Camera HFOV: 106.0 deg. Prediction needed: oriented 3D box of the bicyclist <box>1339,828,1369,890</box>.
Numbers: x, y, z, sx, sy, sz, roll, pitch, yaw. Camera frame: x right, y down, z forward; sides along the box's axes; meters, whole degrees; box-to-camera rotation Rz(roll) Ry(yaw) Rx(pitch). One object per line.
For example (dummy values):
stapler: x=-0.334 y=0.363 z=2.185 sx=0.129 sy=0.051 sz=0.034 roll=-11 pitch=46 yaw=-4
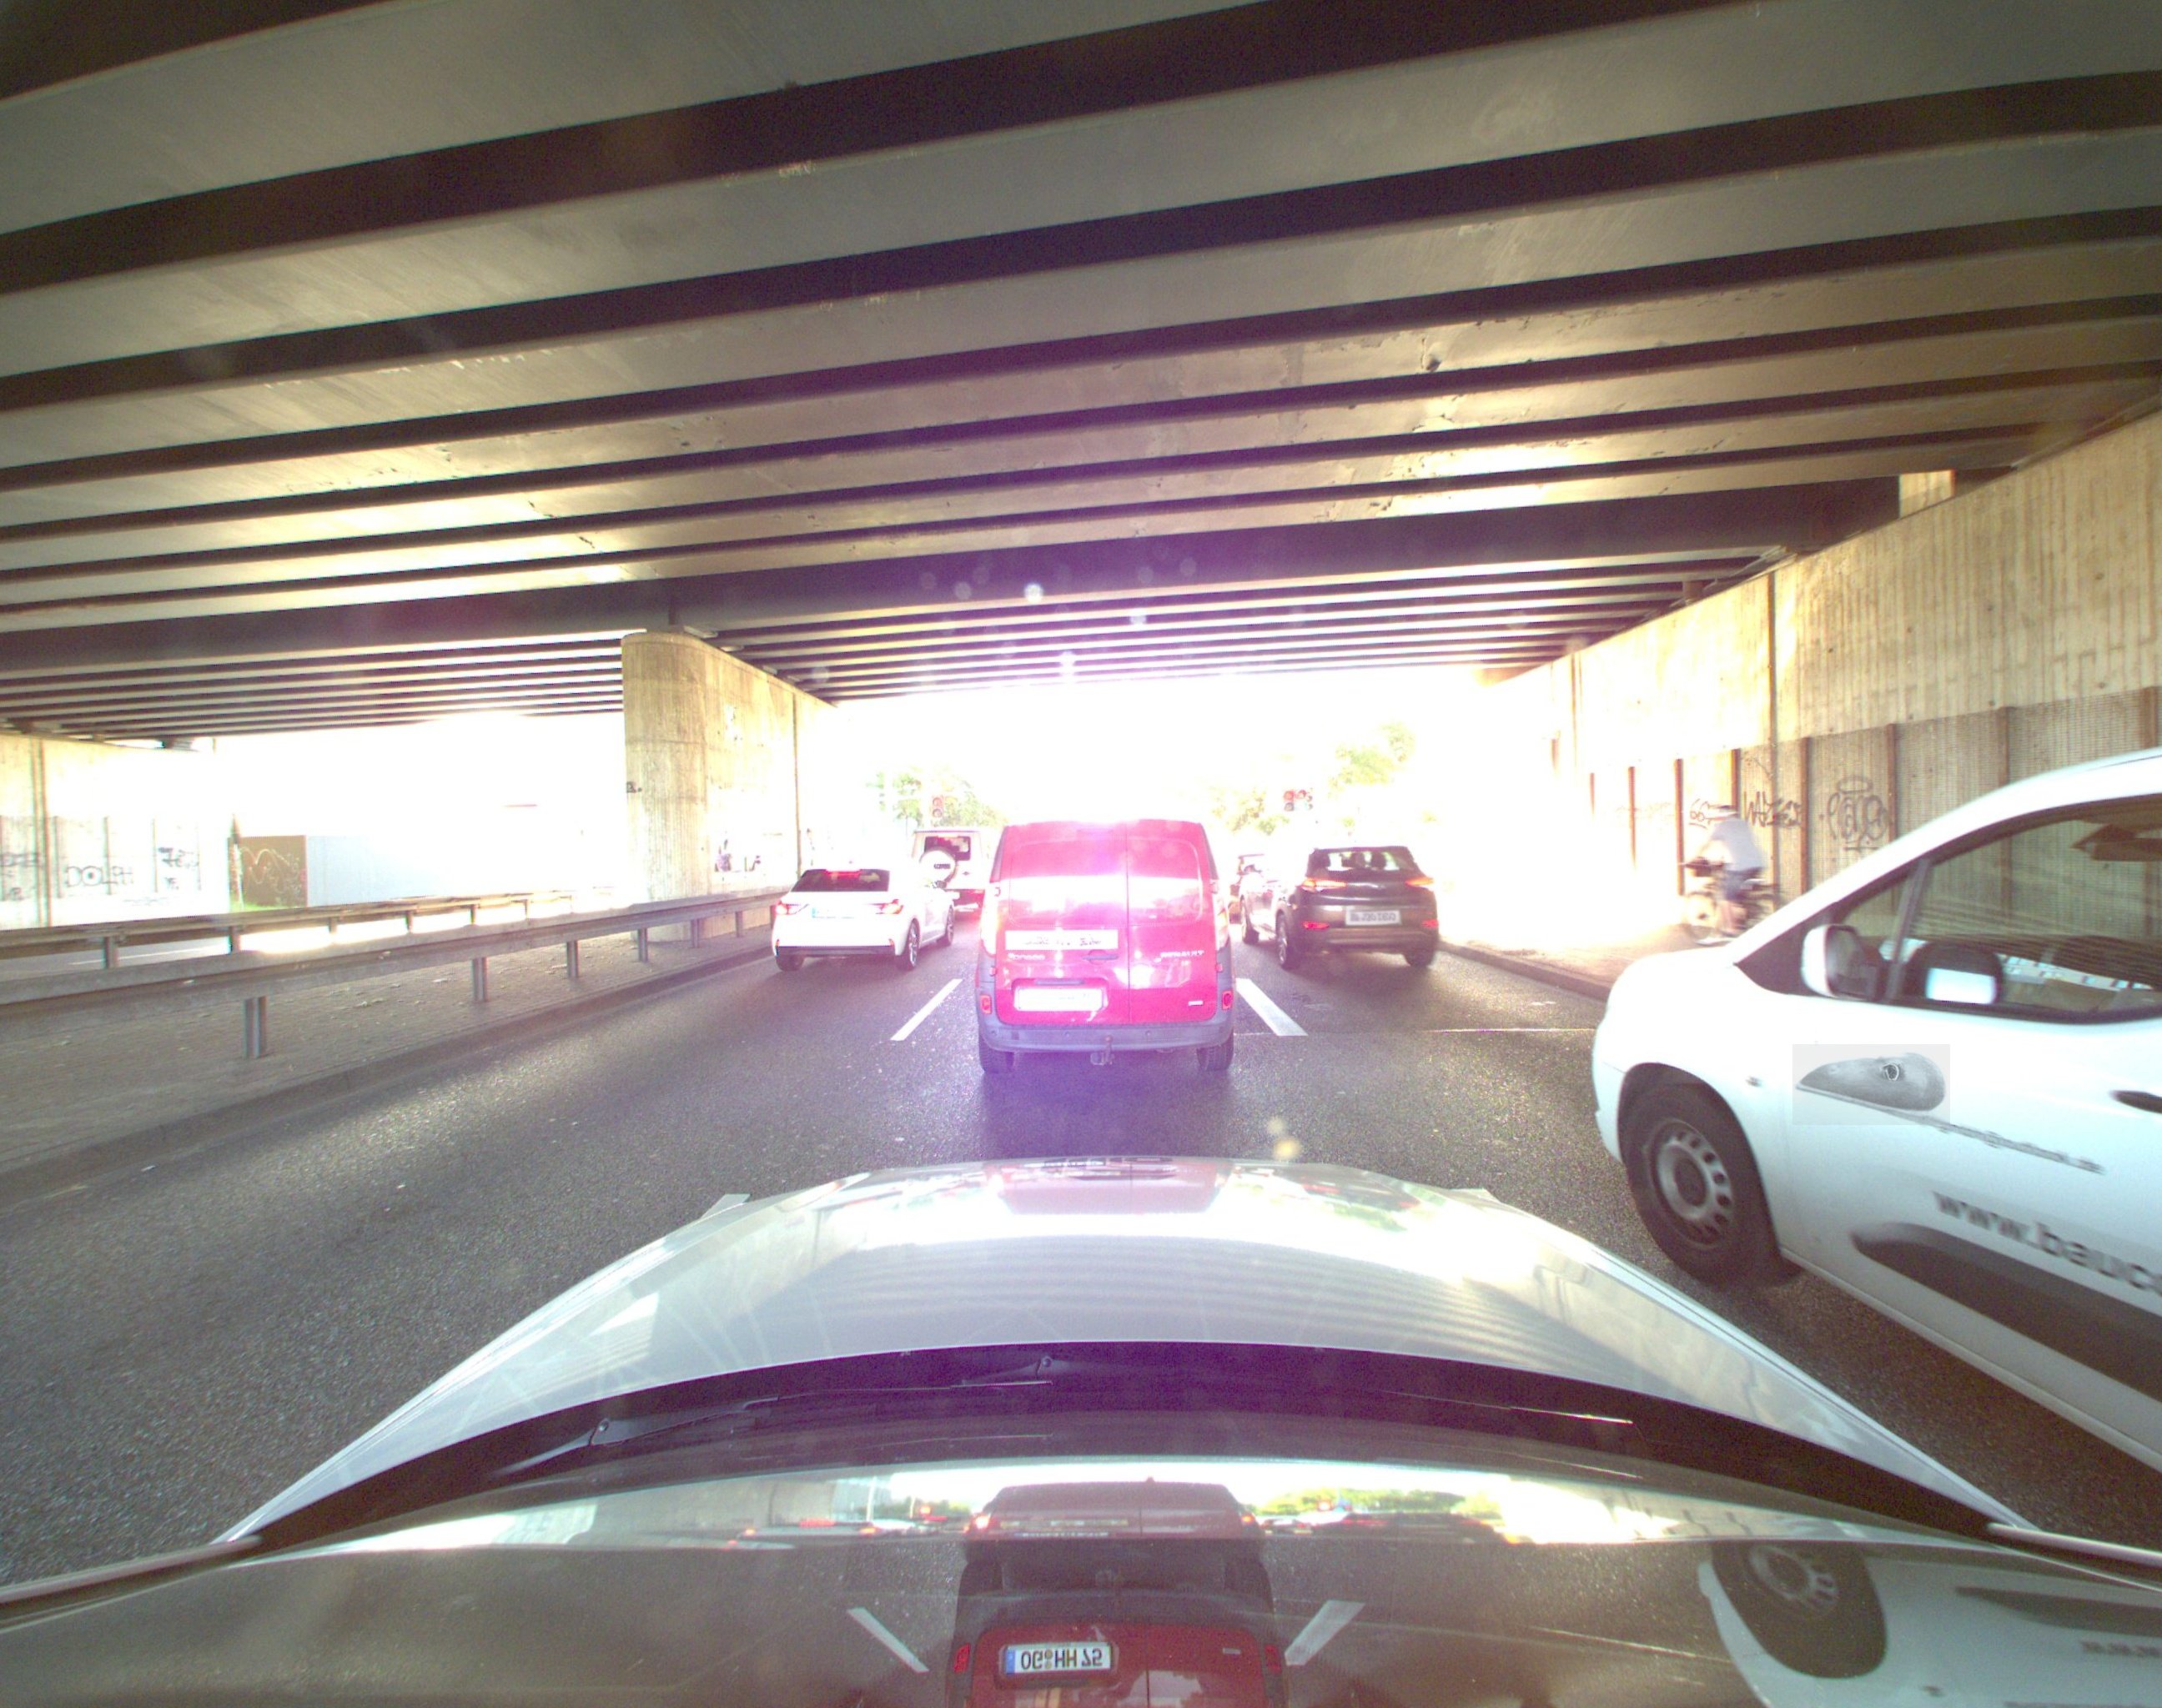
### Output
bicyclist: x=7.285 y=0.133 z=21.742 sx=0.673 sy=1.629 sz=0.646 roll=0 pitch=-1 yaw=12

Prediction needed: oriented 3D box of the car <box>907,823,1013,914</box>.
car: x=-2.707 y=0.300 z=19.046 sx=1.807 sy=1.904 sz=3.814 roll=0 pitch=0 yaw=1

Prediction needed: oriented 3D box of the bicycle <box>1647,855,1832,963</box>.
bicycle: x=7.441 y=0.572 z=9.328 sx=0.699 sy=1.057 sz=1.761 roll=-3 pitch=0 yaw=2

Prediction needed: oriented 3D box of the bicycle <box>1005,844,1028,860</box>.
bicycle: x=-5.117 y=-0.123 z=64.464 sx=1.723 sy=1.233 sz=0.557 roll=-1 pitch=0 yaw=0

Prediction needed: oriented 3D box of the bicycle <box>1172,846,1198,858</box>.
bicycle: x=8.170 y=-0.155 z=63.938 sx=1.945 sy=0.874 sz=0.700 roll=-1 pitch=0 yaw=2

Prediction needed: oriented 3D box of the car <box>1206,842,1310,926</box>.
car: x=3.616 y=0.532 z=17.214 sx=1.645 sy=1.552 sz=3.868 roll=0 pitch=1 yaw=4

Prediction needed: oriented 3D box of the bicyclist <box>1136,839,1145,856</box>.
bicyclist: x=4.728 y=-0.505 z=64.849 sx=0.651 sy=1.329 sz=0.602 roll=0 pitch=-1 yaw=-2

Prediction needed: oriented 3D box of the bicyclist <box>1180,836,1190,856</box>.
bicyclist: x=8.158 y=-0.640 z=63.969 sx=0.752 sy=1.542 sz=0.697 roll=-1 pitch=0 yaw=2

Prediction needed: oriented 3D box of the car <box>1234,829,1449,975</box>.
car: x=3.342 y=0.532 z=11.269 sx=1.772 sy=1.655 sz=3.991 roll=0 pitch=0 yaw=1

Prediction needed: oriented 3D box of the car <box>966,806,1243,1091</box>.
car: x=0.208 y=0.587 z=7.081 sx=1.712 sy=1.764 sz=4.002 roll=0 pitch=0 yaw=2

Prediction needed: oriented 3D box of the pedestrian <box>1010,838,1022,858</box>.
pedestrian: x=-5.148 y=-0.473 z=64.458 sx=0.833 sy=1.554 sz=0.557 roll=-1 pitch=0 yaw=1

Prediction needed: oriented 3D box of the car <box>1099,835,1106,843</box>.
car: x=5.770 y=-3.970 z=220.890 sx=1.986 sy=2.014 sz=4.001 roll=0 pitch=0 yaw=2

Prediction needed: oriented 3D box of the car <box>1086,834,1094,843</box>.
car: x=2.317 y=-3.905 z=204.889 sx=1.986 sy=2.014 sz=4.001 roll=0 pitch=0 yaw=2

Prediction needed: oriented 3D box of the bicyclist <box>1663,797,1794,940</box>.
bicyclist: x=7.414 y=0.160 z=9.372 sx=0.693 sy=1.524 sz=0.910 roll=-4 pitch=-1 yaw=2

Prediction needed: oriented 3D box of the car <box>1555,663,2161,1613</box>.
car: x=2.983 y=0.544 z=1.438 sx=1.808 sy=1.833 sz=4.300 roll=0 pitch=1 yaw=0

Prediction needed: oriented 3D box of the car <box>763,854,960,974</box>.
car: x=-2.923 y=0.723 z=11.703 sx=1.686 sy=1.410 sz=3.815 roll=0 pitch=0 yaw=2

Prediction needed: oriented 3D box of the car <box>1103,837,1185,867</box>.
car: x=3.428 y=-0.114 z=44.957 sx=4.335 sy=1.607 sz=1.999 roll=0 pitch=-1 yaw=-2
